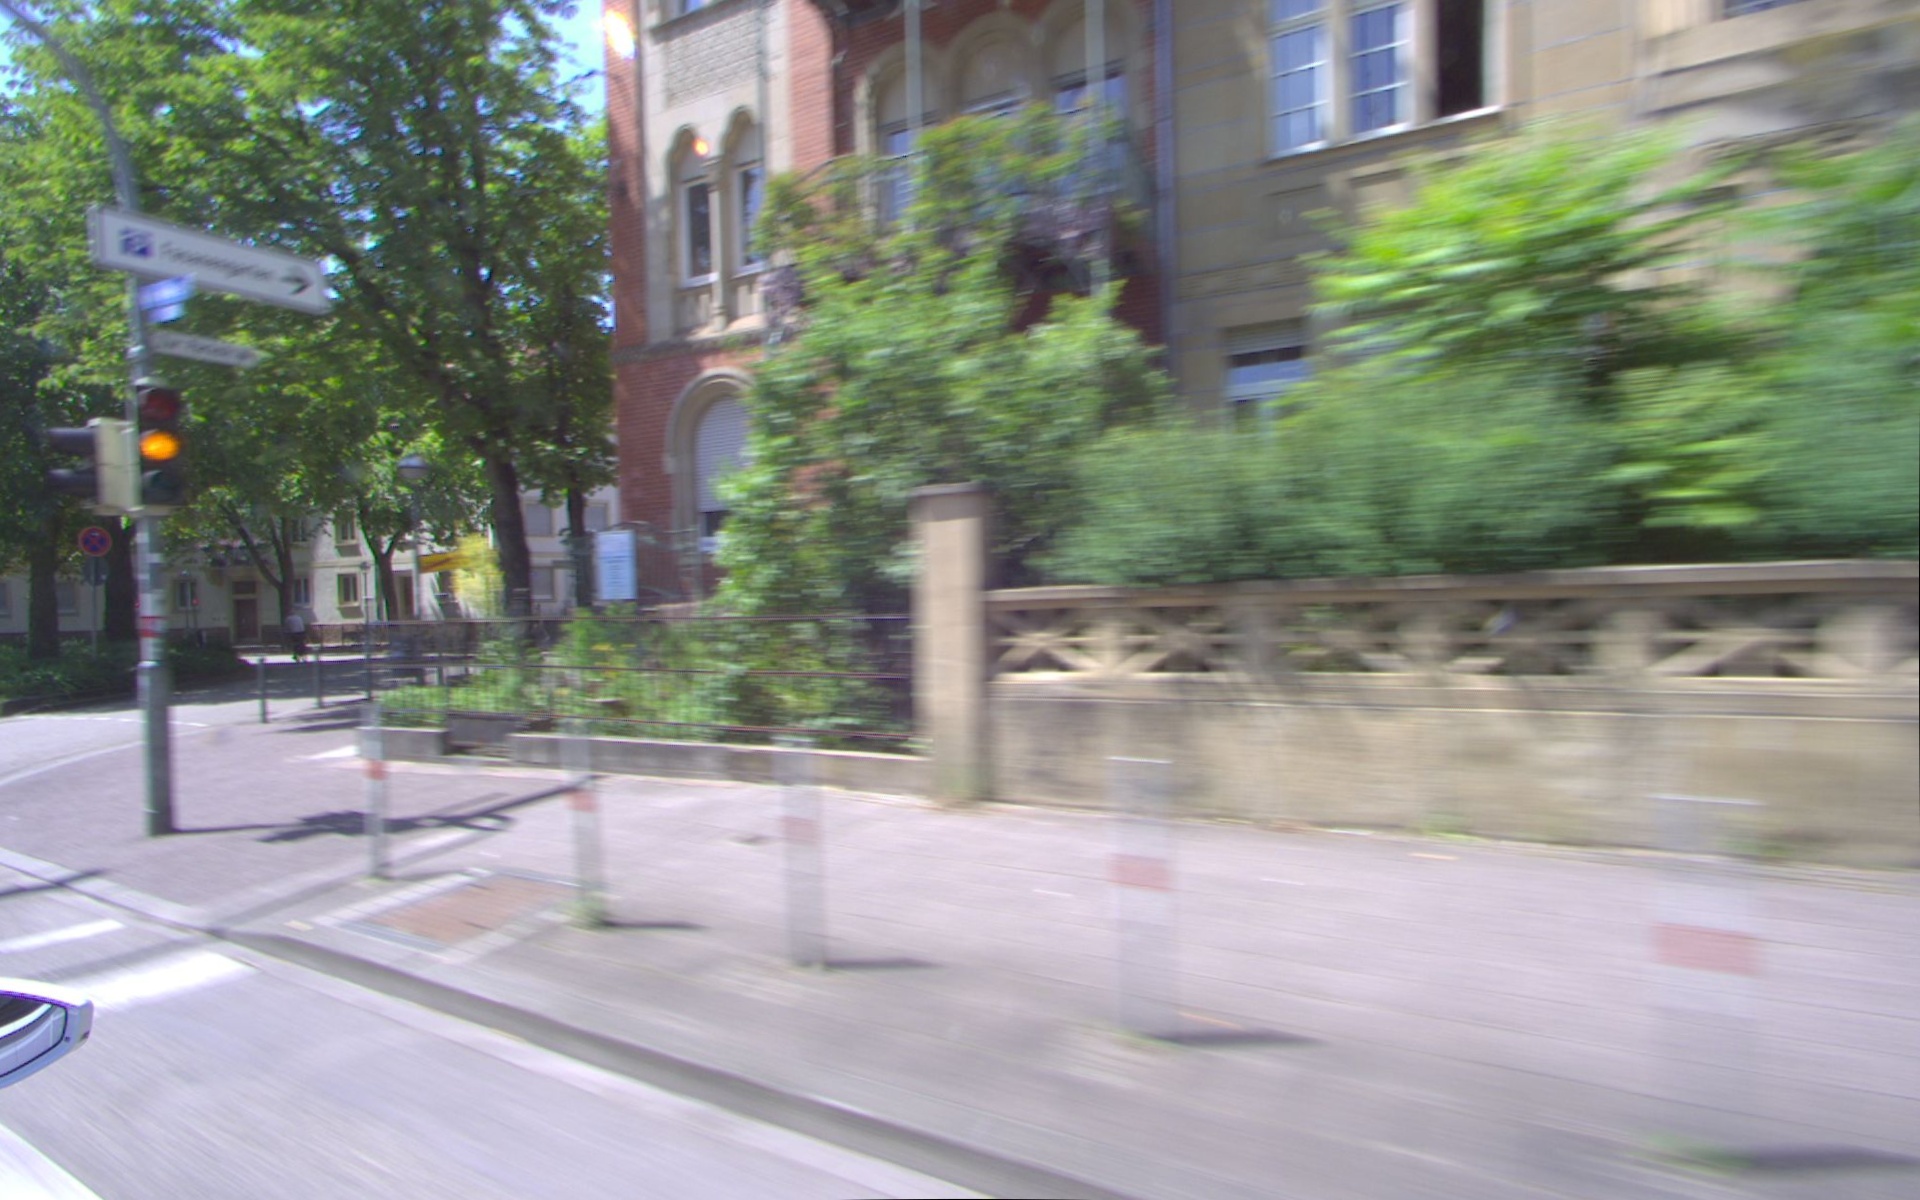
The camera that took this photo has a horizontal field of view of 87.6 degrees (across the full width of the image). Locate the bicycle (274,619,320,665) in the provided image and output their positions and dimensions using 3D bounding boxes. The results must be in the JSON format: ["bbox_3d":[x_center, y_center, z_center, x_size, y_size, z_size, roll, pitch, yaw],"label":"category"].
[{"bbox_3d":[-22.661,1.446,34.194,2.140,1.505,0.589,-2,0,37],"label":"bicycle"}]

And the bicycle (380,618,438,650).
[{"bbox_3d":[-23.962,1.484,43.561,0.540,1.317,2.143,-2,0,38],"label":"bicycle"}]

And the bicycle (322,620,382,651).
[{"bbox_3d":[-27.936,1.615,46.074,0.509,1.362,2.311,-2,0,38],"label":"bicycle"}]

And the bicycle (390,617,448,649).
[{"bbox_3d":[-23.213,1.419,43.018,0.540,1.317,2.143,-2,0,38],"label":"bicycle"}]

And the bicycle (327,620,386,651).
[{"bbox_3d":[-27.537,1.611,45.728,0.509,1.365,2.227,-2,0,38],"label":"bicycle"}]

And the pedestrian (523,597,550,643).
[{"bbox_3d":[-19.239,0.906,45.496,0.760,2.040,0.806,-2,0,19],"label":"pedestrian"}]

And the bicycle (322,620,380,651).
[{"bbox_3d":[-27.401,1.588,45.106,0.540,1.317,2.143,-2,0,38],"label":"bicycle"}]

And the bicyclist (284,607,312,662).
[{"bbox_3d":[-22.475,1.168,33.991,0.527,1.823,0.599,-2,0,37],"label":"bicyclist"}]
